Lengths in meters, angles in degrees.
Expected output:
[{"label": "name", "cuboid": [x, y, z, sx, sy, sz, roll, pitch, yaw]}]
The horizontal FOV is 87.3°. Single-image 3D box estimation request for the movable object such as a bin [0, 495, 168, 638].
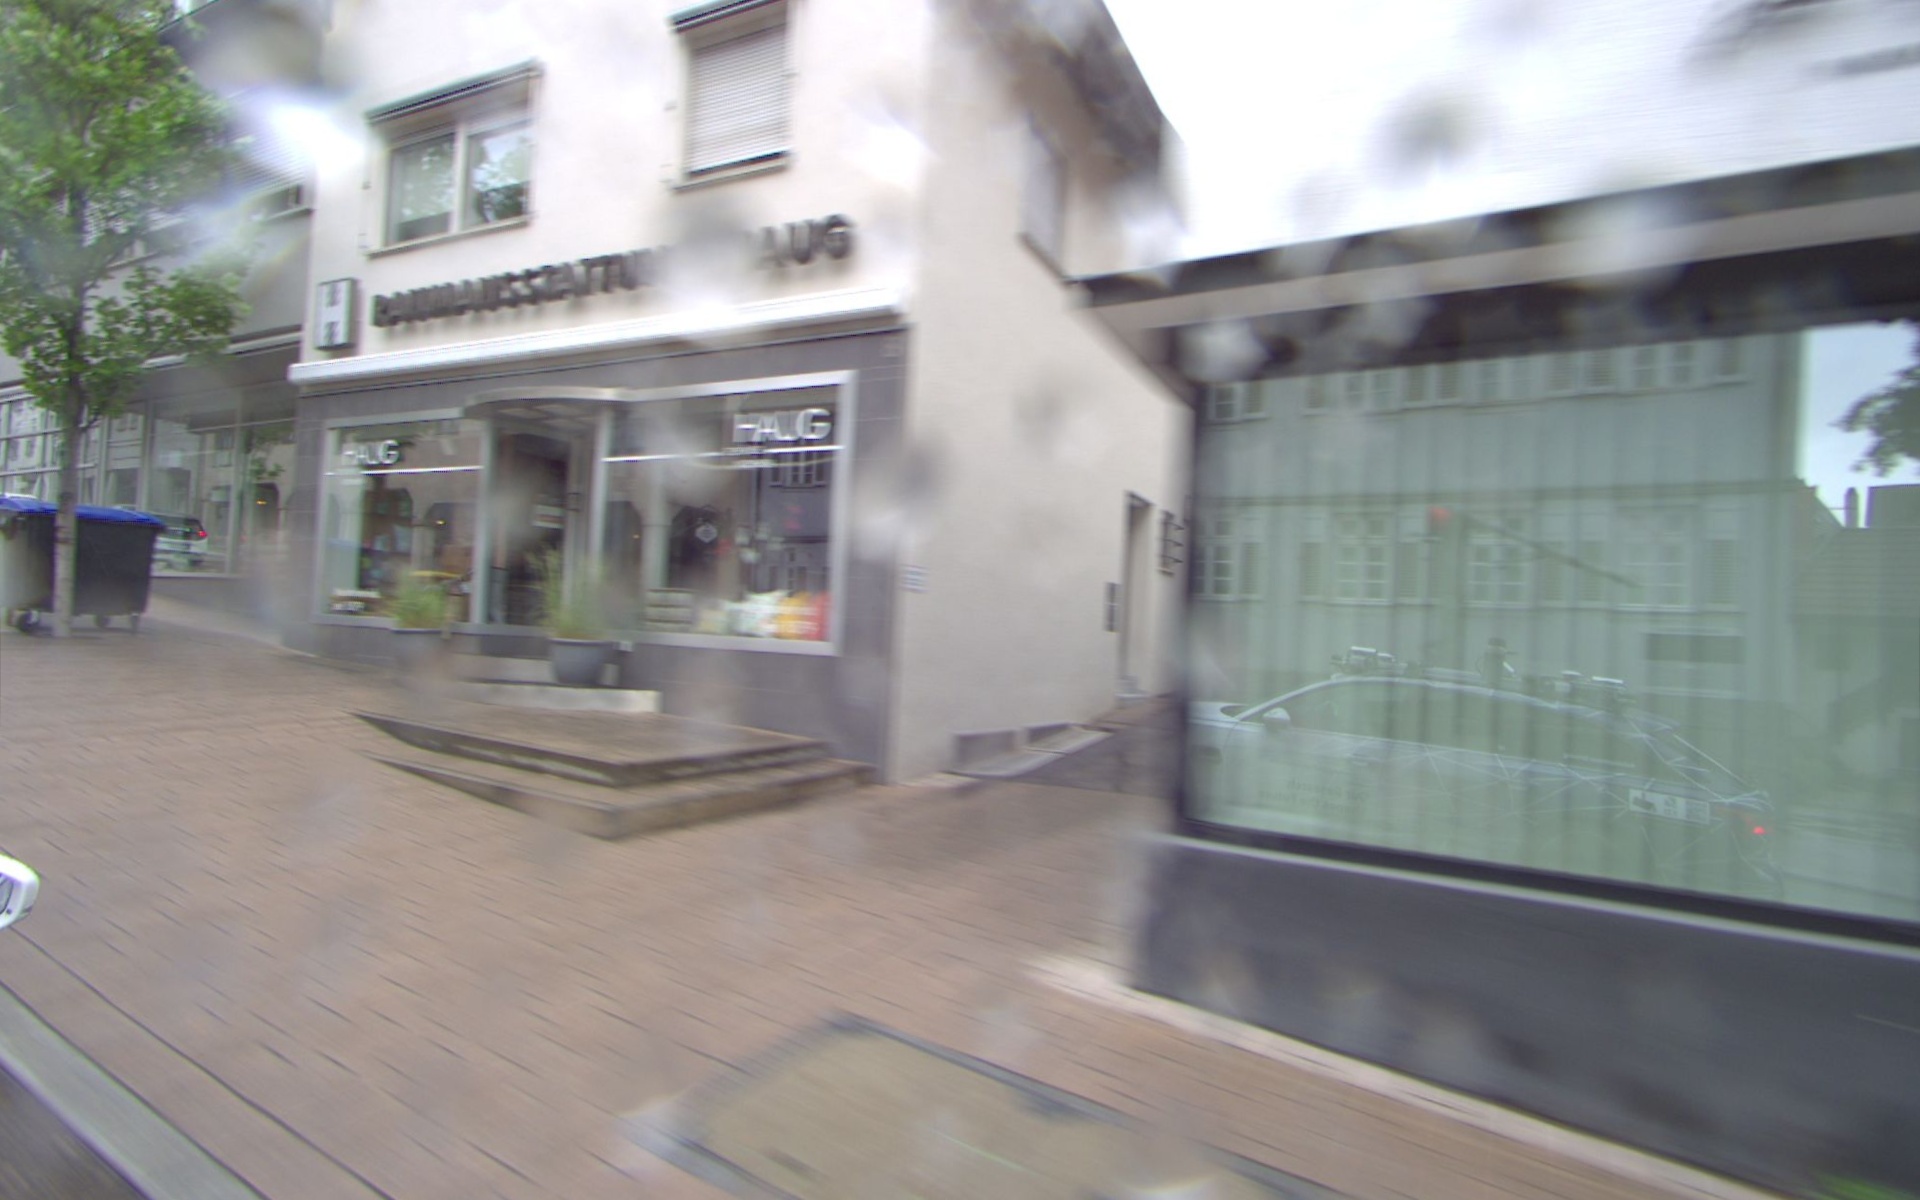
[{"label": "movable object such as a bin", "cuboid": [-9.506, -0.351, 10.751, 1.153, 1.352, 1.236, 7, 1, 31]}]
